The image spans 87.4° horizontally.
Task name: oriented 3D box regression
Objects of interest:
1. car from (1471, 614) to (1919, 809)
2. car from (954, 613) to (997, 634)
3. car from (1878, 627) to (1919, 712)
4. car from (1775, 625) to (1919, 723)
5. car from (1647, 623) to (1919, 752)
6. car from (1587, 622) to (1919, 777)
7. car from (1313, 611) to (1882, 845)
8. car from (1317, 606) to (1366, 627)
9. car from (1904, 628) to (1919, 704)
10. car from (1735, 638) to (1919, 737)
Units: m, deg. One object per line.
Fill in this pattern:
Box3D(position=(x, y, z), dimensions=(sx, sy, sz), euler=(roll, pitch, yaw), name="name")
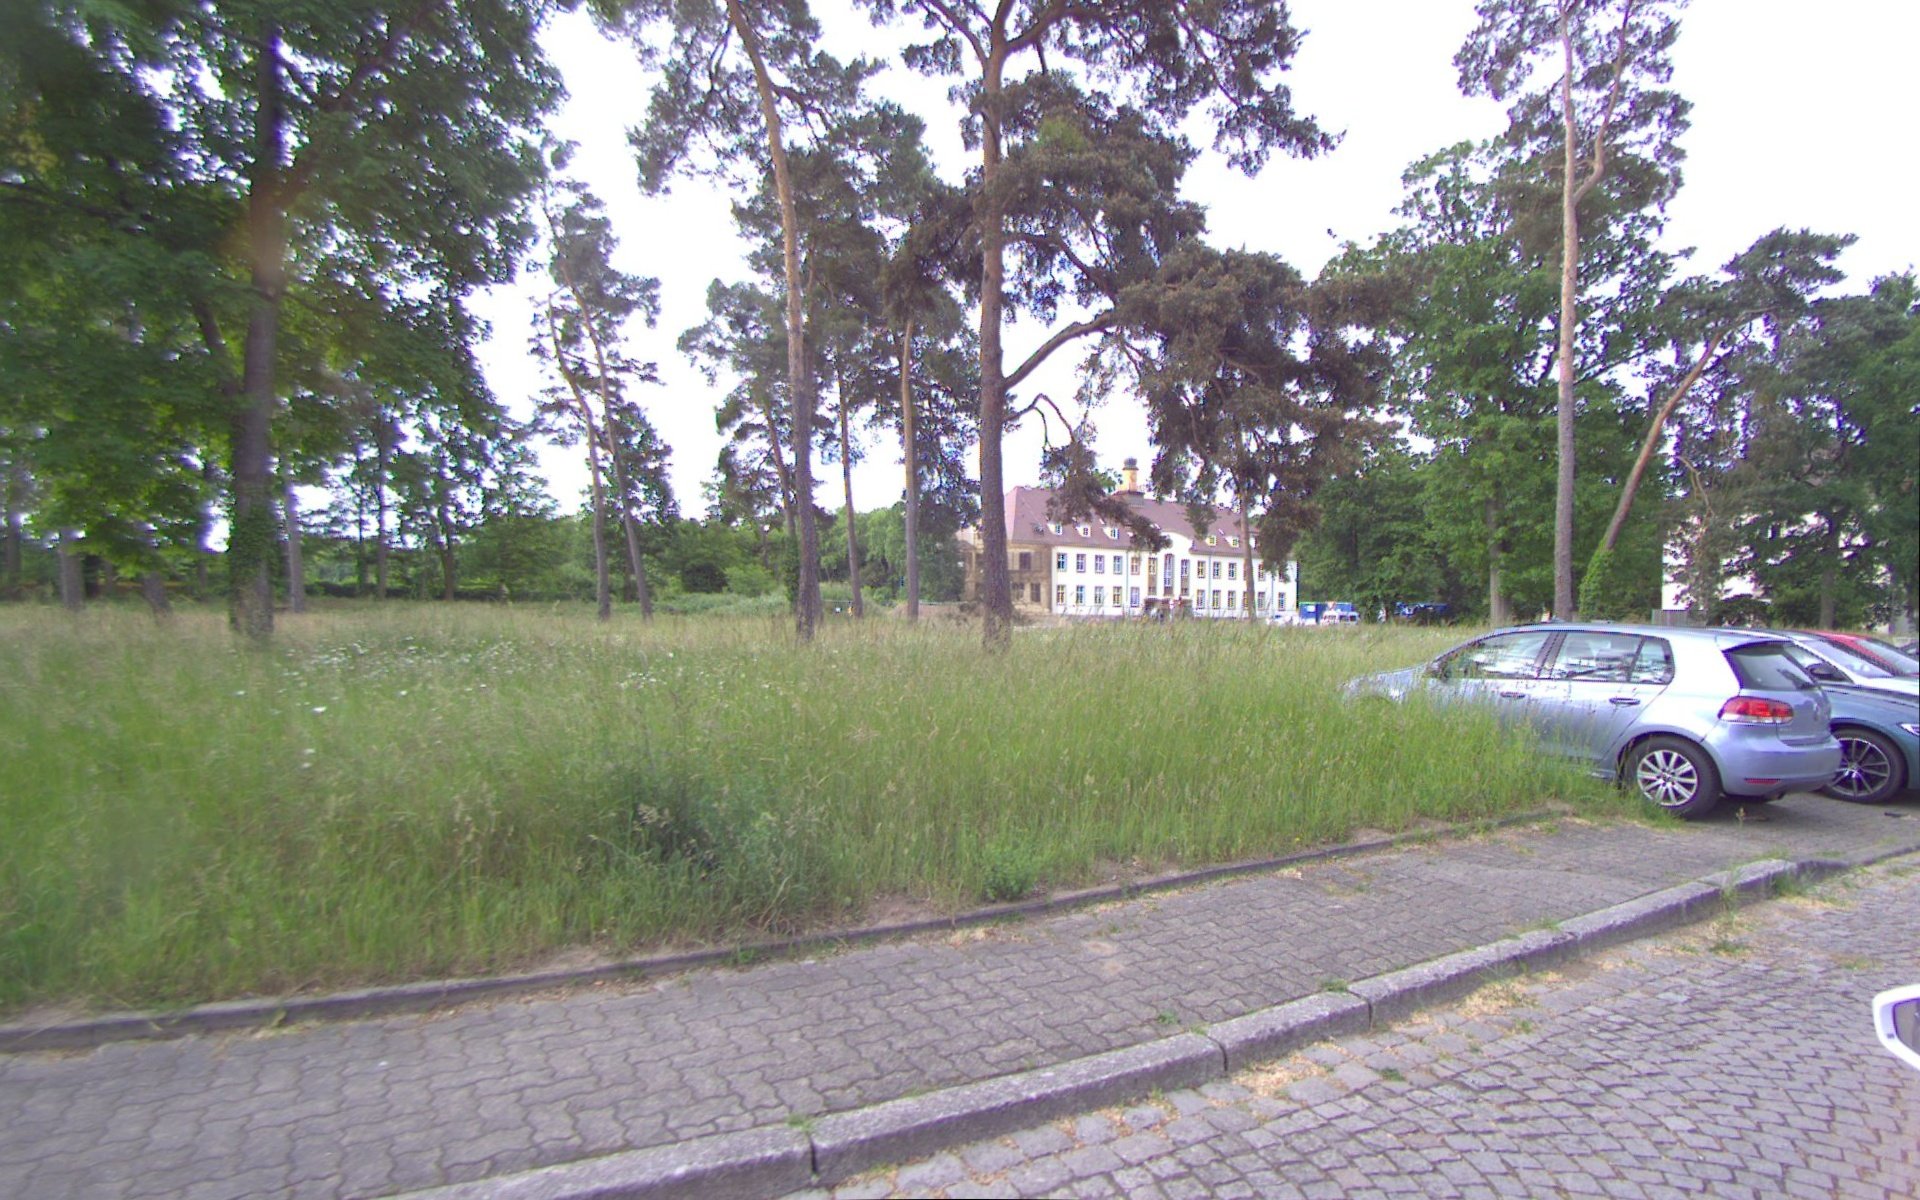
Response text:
Box3D(position=(7.853, 0.975, 10.345), dimensions=(1.916, 1.568, 4.222), euler=(1, 0, -35), name="car")
Box3D(position=(1.703, 2.623, 112.348), dimensions=(1.983, 2.229, 4.981), euler=(1, 0, -39), name="car")
Box3D(position=(18.684, 1.271, 17.114), dimensions=(1.842, 1.511, 4.146), euler=(1, 0, -30), name="car")
Box3D(position=(16.017, 1.206, 16.160), dimensions=(1.824, 1.502, 4.145), euler=(1, 0, -30), name="car")
Box3D(position=(11.886, 1.100, 13.385), dimensions=(1.844, 1.496, 4.143), euler=(1, 0, -32), name="car")
Box3D(position=(10.143, 1.077, 11.786), dimensions=(1.915, 1.527, 4.348), euler=(1, 0, -33), name="car")
Box3D(position=(5.472, 0.921, 9.143), dimensions=(1.885, 1.563, 3.964), euler=(1, 0, -32), name="car")
Box3D(position=(40.131, 1.752, 105.547), dimensions=(5.167, 2.040, 1.985), euler=(2, -1, -30), name="car")
Box3D(position=(20.923, 1.348, 19.066), dimensions=(1.824, 1.517, 4.047), euler=(1, 0, -30), name="car")
Box3D(position=(13.987, 1.262, 14.438), dimensions=(1.810, 1.283, 4.146), euler=(1, 0, -30), name="car")
